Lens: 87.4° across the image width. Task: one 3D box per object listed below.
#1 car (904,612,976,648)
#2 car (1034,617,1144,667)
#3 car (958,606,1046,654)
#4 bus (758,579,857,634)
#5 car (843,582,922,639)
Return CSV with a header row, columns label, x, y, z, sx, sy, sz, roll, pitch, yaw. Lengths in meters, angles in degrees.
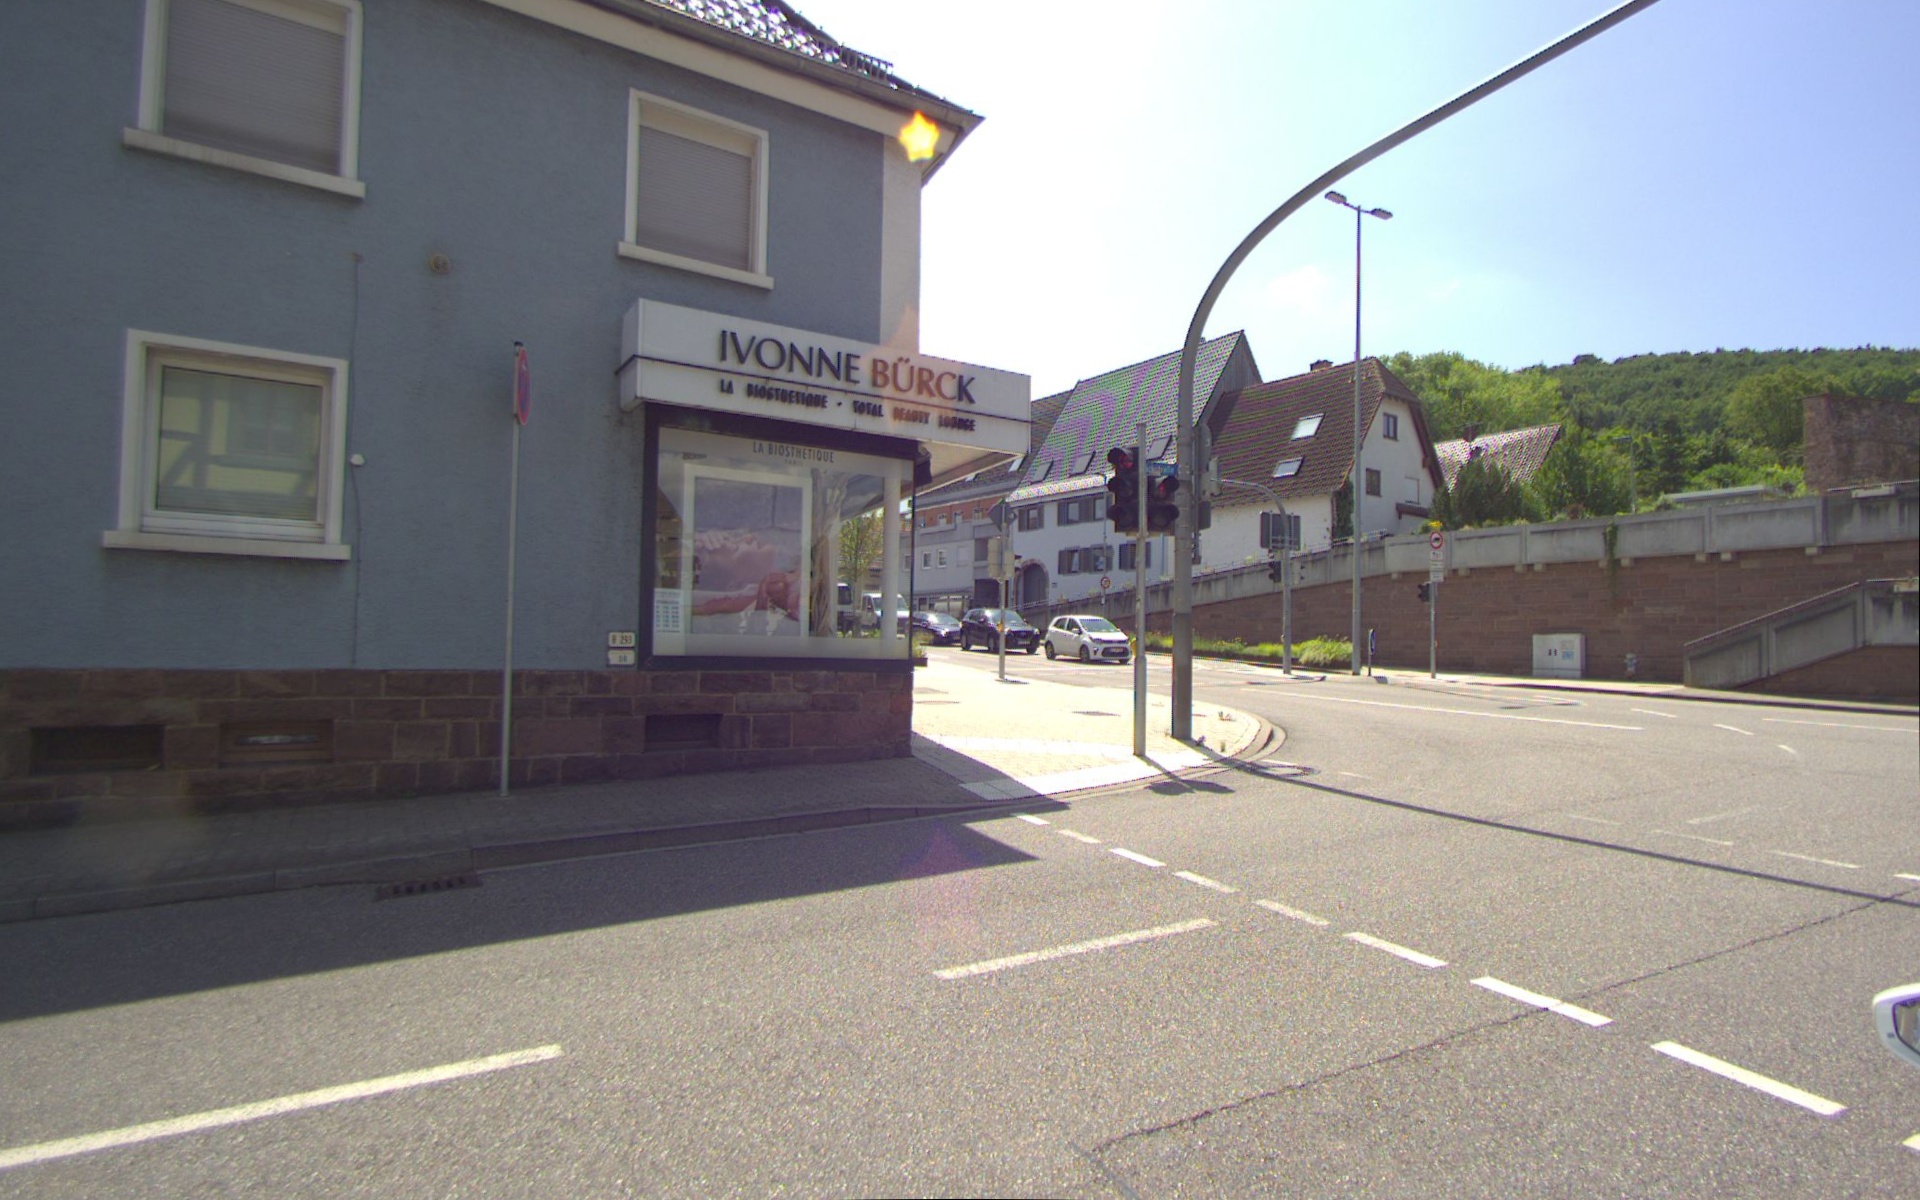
label,x,y,z,sx,sy,sz,roll,pitch,yaw
car,-0.934,1.279,44.705,1.838,1.499,3.976,0,0,-24
car,4.176,1.327,33.195,1.838,1.499,3.976,0,0,-24
car,1.549,1.109,38.466,1.838,1.737,3.977,0,0,-23
bus,-10.201,0.409,65.584,2.515,3.211,12.561,0,0,-27
car,-4.270,0.560,53.883,2.272,2.859,6.469,0,0,-23
